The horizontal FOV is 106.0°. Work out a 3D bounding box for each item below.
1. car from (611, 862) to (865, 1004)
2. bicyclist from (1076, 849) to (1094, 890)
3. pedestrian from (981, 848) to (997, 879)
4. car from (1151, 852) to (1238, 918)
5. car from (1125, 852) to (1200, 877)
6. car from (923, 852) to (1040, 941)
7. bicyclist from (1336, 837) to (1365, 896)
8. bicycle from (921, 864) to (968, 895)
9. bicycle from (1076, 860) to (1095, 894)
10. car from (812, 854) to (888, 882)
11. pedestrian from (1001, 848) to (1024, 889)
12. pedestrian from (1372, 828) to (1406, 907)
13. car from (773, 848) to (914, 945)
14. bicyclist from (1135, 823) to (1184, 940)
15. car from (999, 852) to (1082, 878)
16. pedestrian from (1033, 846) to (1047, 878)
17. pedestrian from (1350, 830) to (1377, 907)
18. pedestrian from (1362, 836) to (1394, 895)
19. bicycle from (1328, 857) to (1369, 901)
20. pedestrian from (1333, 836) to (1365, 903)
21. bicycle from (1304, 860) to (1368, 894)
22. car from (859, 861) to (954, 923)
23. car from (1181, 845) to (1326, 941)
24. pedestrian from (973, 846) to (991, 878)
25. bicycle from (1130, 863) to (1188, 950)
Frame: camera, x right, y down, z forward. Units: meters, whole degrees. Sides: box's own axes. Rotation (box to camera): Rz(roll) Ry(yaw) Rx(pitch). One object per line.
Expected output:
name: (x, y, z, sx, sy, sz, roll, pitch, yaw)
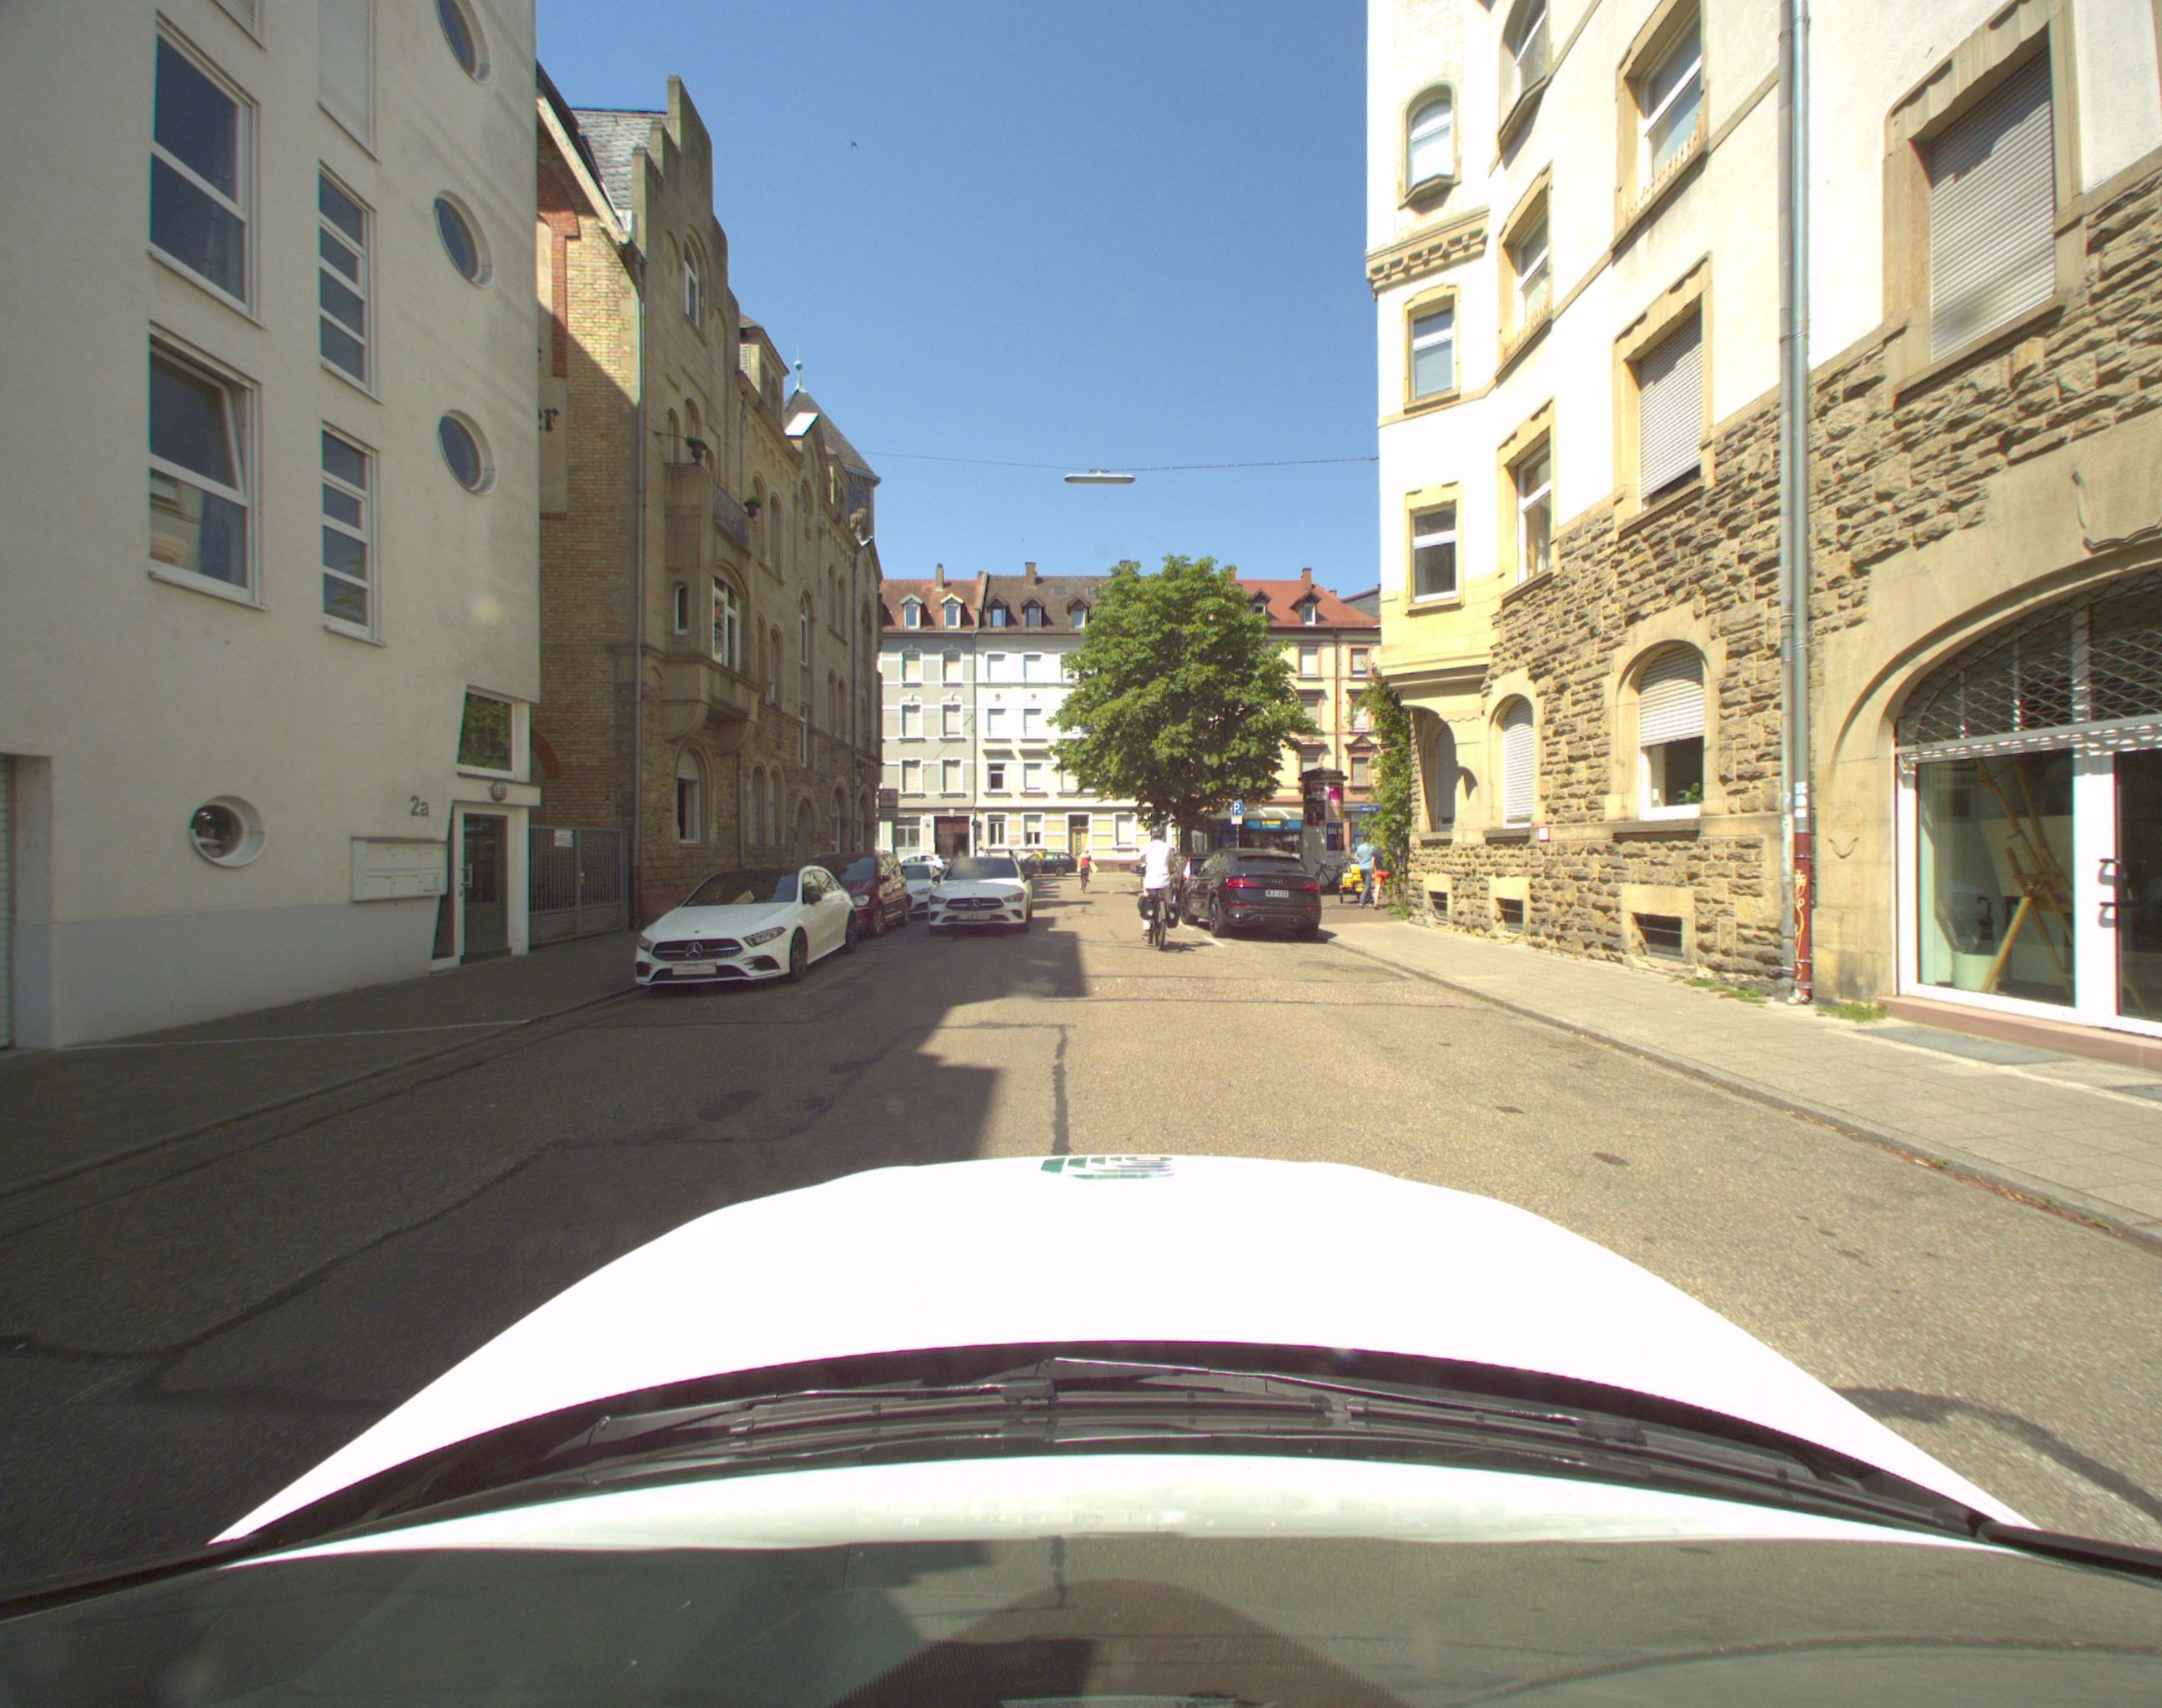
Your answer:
car: (-4.339, 0.887, 11.121, 1.772, 1.460, 4.274, -3, 0, -3)
bicyclist: (0.145, 0.590, 30.813, 0.668, 1.533, 0.609, -1, 0, 0)
pedestrian: (-5.540, 0.579, 49.237, 0.900, 1.814, 0.958, -1, 0, -6)
car: (2.929, 0.746, 21.756, 1.658, 1.540, 4.176, 2, 0, -1)
car: (4.877, 0.611, 49.015, 4.282, 1.370, 1.806, -1, 2, -2)
car: (-1.851, 0.748, 16.392, 1.836, 1.461, 4.360, -3, 0, -1)
bicyclist: (7.744, 0.358, 23.412, 0.671, 1.647, 0.666, -1, -1, 27)
bicycle: (-4.691, 0.871, 27.985, 1.522, 1.008, 0.366, 2, -1, -6)
bicycle: (0.172, 0.855, 30.860, 0.649, 1.209, 2.441, 1, 0, 0)
car: (-13.874, 0.840, 49.130, 4.037, 1.562, 1.805, -1, 0, -3)
pedestrian: (-2.856, 0.605, 34.042, 0.855, 1.672, 0.774, -1, 0, -1)
pedestrian: (7.477, 0.325, 19.754, 0.593, 1.880, 0.888, -1, -1, 30)
car: (-4.476, 0.734, 15.940, 1.668, 1.583, 4.048, -3, 0, -3)
bicyclist: (1.205, 0.415, 12.591, 0.668, 1.760, 0.609, 1, -1, 0)
car: (-2.380, 0.627, 48.939, 4.846, 1.437, 1.999, -1, 0, -2)
pedestrian: (-2.402, 0.463, 47.720, 0.725, 1.853, 0.682, -1, -1, -11)
pedestrian: (7.027, 0.357, 20.240, 0.513, 1.869, 0.657, -1, -1, 30)
pedestrian: (9.185, 0.335, 25.185, 0.753, 1.794, 0.576, -1, -1, -40)
bicycle: (7.678, 0.672, 23.309, 0.786, 1.169, 2.593, -1, 0, 25)
pedestrian: (7.078, 0.407, 21.531, 0.636, 1.752, 0.615, -1, 0, 2)
bicycle: (8.297, 0.734, 26.520, 1.894, 1.039, 0.633, -1, 0, -1)
car: (-4.401, 0.897, 21.161, 1.698, 1.352, 4.509, -3, 0, -3)
car: (3.214, 0.667, 16.039, 1.731, 1.597, 4.343, 2, 0, -3)
pedestrian: (-5.865, 0.482, 48.296, 0.845, 1.889, 0.938, -1, 0, 9)
bicycle: (1.197, 0.768, 12.943, 0.650, 1.228, 2.441, 1, 0, 0)
